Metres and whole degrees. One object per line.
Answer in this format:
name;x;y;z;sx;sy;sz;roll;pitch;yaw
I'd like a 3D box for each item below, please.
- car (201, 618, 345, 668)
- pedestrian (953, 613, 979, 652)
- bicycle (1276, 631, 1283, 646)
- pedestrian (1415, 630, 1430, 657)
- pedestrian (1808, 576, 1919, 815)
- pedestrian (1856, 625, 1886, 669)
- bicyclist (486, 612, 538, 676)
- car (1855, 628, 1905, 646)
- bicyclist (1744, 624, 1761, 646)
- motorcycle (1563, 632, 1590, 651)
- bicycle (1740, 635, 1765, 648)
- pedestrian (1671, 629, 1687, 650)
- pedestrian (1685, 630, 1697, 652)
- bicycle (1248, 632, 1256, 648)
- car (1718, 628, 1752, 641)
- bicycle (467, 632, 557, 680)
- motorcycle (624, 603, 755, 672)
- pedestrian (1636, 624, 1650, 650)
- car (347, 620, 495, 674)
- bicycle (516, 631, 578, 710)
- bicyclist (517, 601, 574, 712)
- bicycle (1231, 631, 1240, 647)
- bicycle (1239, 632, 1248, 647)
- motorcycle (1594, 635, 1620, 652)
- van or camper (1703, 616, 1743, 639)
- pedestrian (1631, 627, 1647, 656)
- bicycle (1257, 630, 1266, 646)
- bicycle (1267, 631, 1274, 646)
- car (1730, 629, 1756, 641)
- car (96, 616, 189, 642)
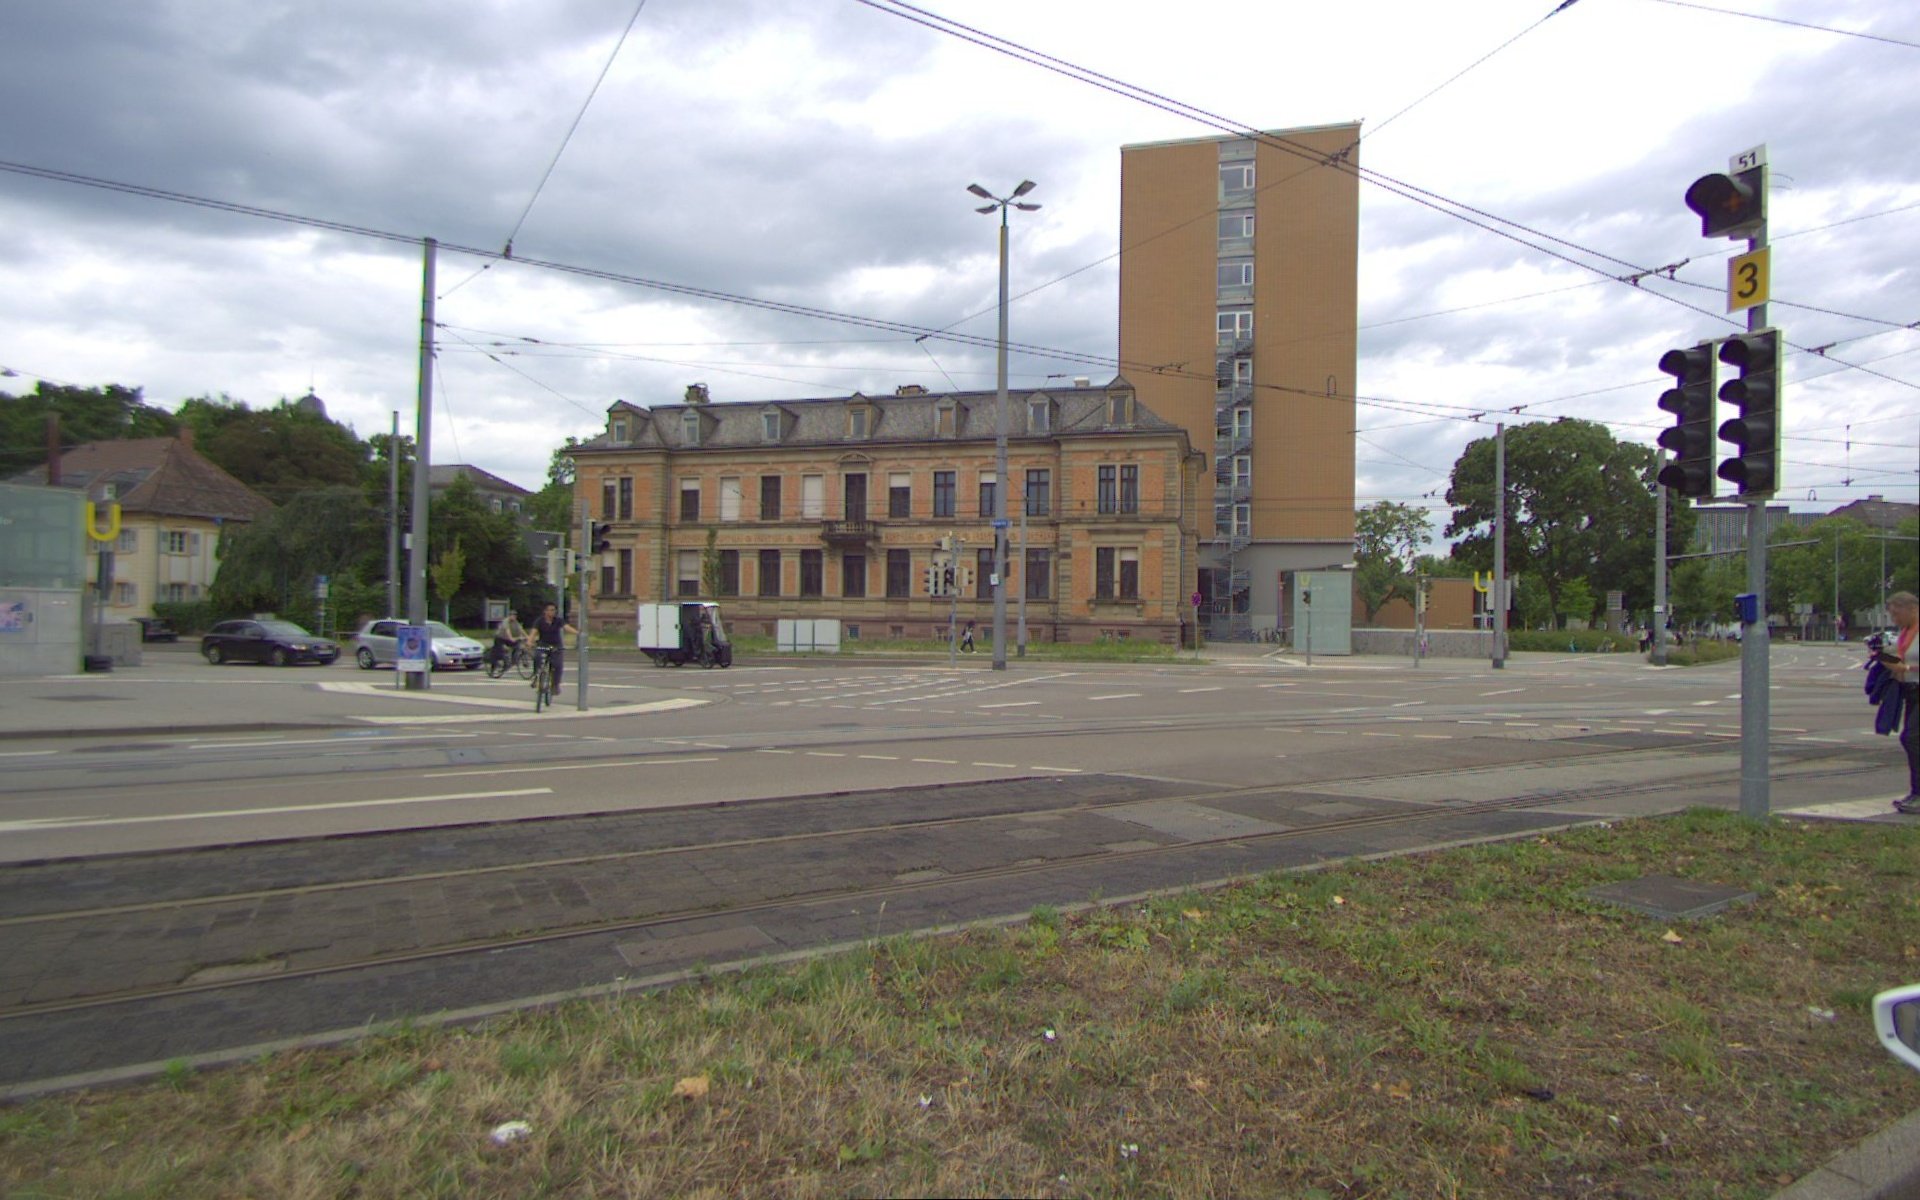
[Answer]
car;-22.042;1.347;32.233;4.061;1.468;1.697;1;-1;18
pedestrian;0.287;1.517;47.023;1.104;1.786;0.759;1;-1;8
bicycle;23.396;2.796;73.648;0.472;1.063;1.428;1;-1;18
pedestrian;23.212;2.183;50.421;0.562;1.353;0.499;1;-1;10
pedestrian;8.015;0.788;8.475;1.082;1.932;0.736;1;0;18
pedestrian;42.400;2.176;46.753;1.009;2.040;0.842;0;-1;41
bicyclist;-11.855;1.162;26.610;0.899;1.644;0.855;0;-1;20
car;101.605;4.064;110.967;1.683;1.795;3.998;1;-1;-4
bicyclist;75.926;3.344;96.202;0.966;2.040;0.934;1;-1;-27
motorcycle;41.581;2.806;67.718;1.443;1.285;0.512;1;-1;14
bicycle;75.902;3.962;96.195;2.695;1.194;0.935;1;-1;-28
pedestrian;68.028;3.746;95.033;0.784;2.007;0.876;2;-2;-23
pedestrian;67.838;3.821;93.214;0.868;2.007;0.792;0;-2;42
bicycle;21.554;2.925;74.137;0.561;1.120;1.428;1;-1;18
car;95.241;4.268;123.480;1.746;1.483;4.002;1;-1;14
bicycle;-11.866;1.462;26.602;2.154;1.224;0.857;0;-2;20
motorcycle;-8.480;1.130;31.574;3.614;2.040;1.696;1;-1;19
pedestrian;52.984;2.857;77.897;0.781;2.007;0.880;1;-2;26
car;-16.244;1.377;30.263;4.081;1.473;1.761;0;-1;23
bicycle;-7.053;1.166;17.093;0.805;1.259;1.986;0;-2;-27
bicyclist;-7.084;0.935;17.162;0.805;1.822;1.022;0;0;-28
bicycle;20.427;2.905;74.481;0.561;1.120;1.428;1;-1;18
bicycle;20.991;2.907;74.307;0.561;1.120;1.428;1;-1;18
motorcycle;43.685;2.948;67.845;1.716;1.126;0.510;1;-1;-17
van or camper;108.254;3.840;142.521;2.347;3.165;5.507;1;-1;12
pedestrian;47.590;2.896;70.358;0.781;2.007;0.880;1;-2;26
bicycle;22.198;2.801;73.971;0.561;1.120;1.428;1;-1;18
bicycle;22.821;2.810;73.772;0.500;1.063;1.428;1;-1;18
car;112.730;5.032;144.692;1.746;1.483;4.000;1;0;20
car;-45.033;1.586;55.357;3.919;1.305;1.936;1;-1;12
